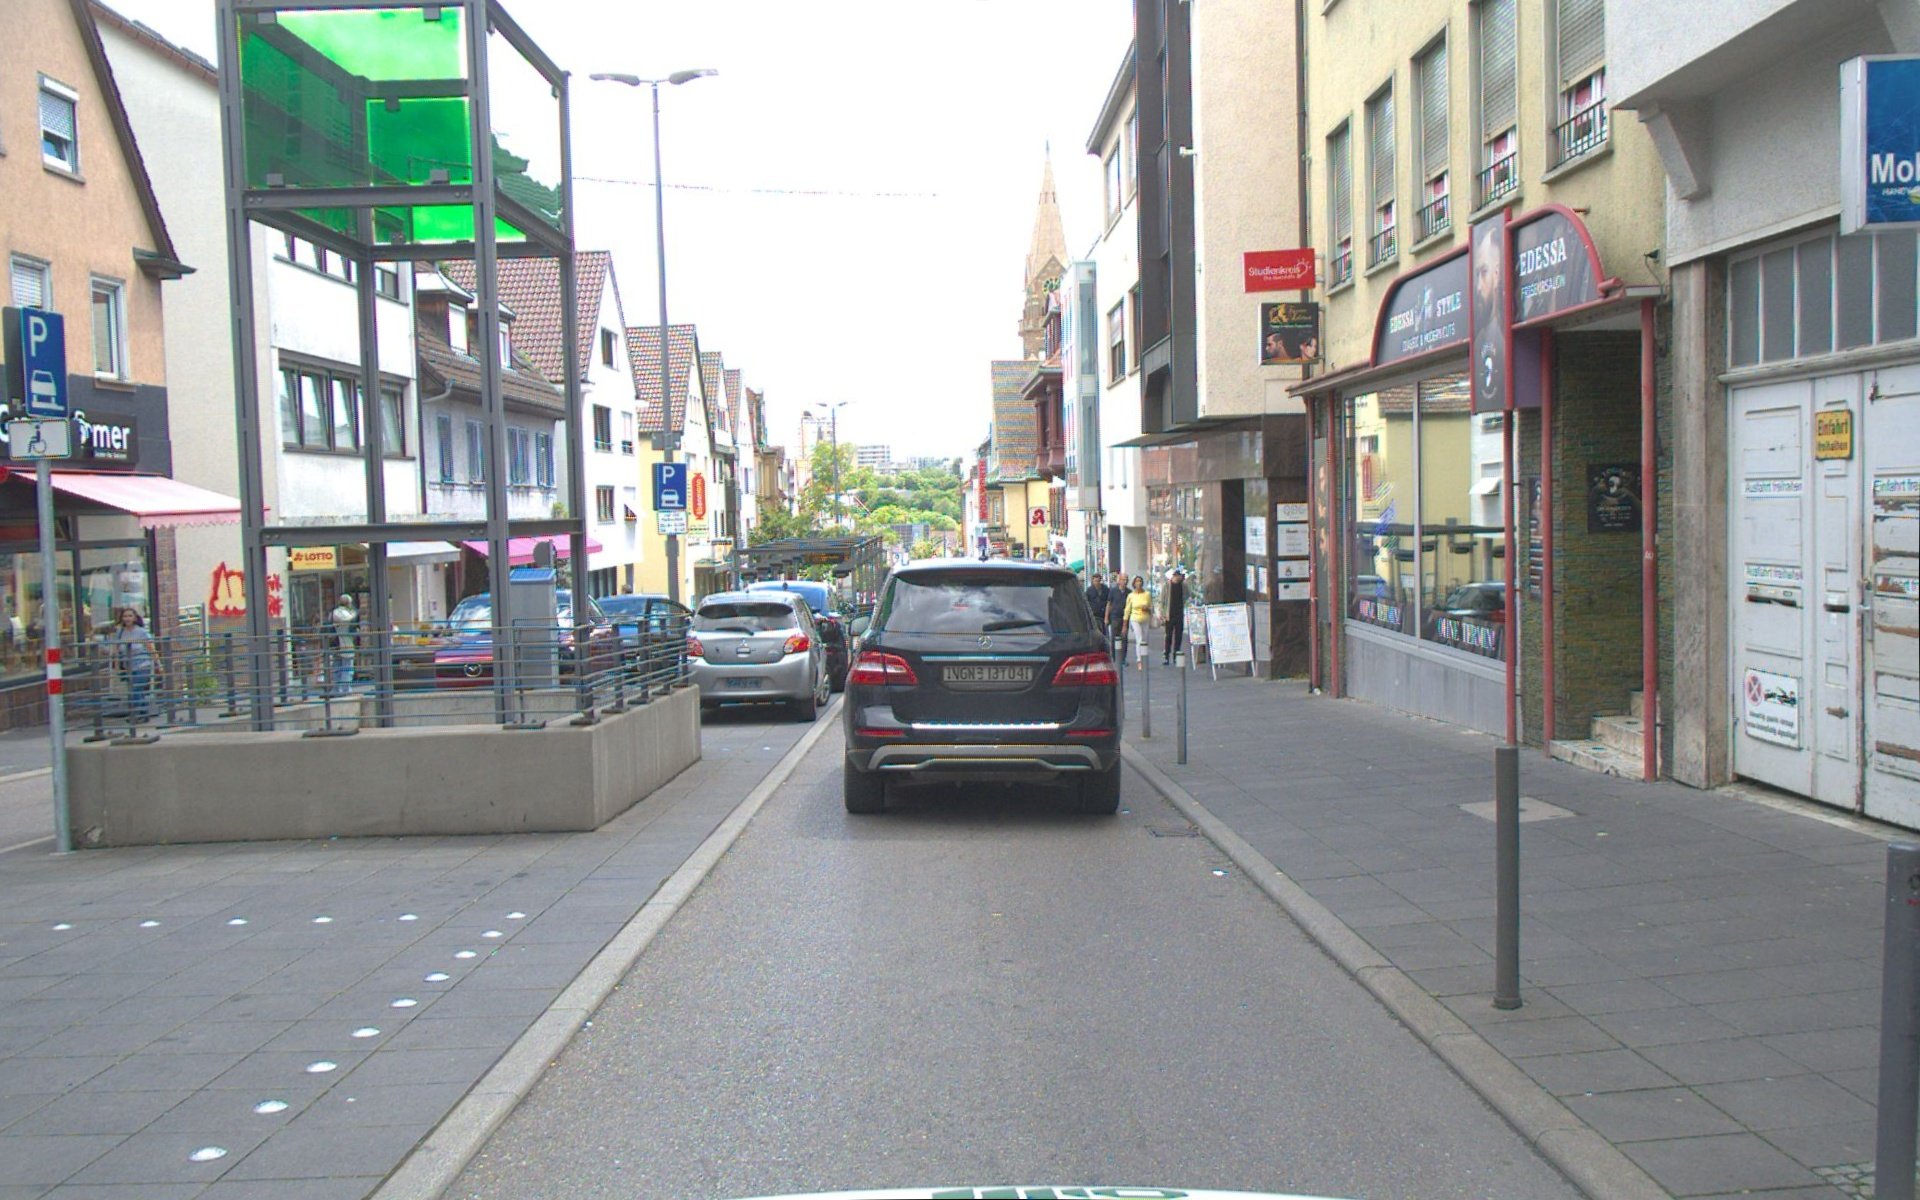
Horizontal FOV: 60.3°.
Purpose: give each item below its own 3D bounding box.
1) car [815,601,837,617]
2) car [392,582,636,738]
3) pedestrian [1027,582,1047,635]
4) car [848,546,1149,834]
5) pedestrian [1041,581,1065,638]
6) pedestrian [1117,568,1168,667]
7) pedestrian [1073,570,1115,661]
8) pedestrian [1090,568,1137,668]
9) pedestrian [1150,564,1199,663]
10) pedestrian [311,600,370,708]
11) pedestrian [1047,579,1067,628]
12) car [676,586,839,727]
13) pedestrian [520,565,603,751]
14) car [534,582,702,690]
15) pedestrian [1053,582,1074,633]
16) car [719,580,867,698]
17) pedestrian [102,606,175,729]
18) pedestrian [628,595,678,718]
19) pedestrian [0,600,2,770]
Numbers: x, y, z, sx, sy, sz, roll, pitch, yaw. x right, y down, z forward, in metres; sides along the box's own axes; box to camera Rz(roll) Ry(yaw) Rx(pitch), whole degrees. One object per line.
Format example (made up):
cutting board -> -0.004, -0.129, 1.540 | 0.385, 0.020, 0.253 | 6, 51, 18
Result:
car -> -9.839, 0.679, 121.594 | 1.360, 1.089, 3.112 | -2, 0, -1
car -> -4.944, 0.607, 18.903 | 1.703, 1.570, 4.192 | 0, 0, -1
pedestrian -> 2.579, 0.268, 55.381 | 0.532, 1.756, 0.527 | -1, 0, -7
car -> 0.155, 0.562, 12.310 | 1.862, 1.777, 3.998 | 1, 0, -3
pedestrian -> 2.829, 0.300, 50.225 | 0.609, 1.718, 0.565 | 1, 0, -7
pedestrian -> 3.161, 0.301, 28.678 | 0.697, 1.659, 0.835 | -3, 0, -1
pedestrian -> 2.720, 0.307, 33.554 | 0.697, 1.784, 0.787 | -3, 0, -1
pedestrian -> 2.817, 0.332, 30.464 | 0.697, 1.784, 0.785 | -3, 0, -1
pedestrian -> 3.848, 0.235, 29.716 | 0.650, 1.718, 0.542 | -4, 0, -7
pedestrian -> -10.009, 0.861, 26.733 | 0.634, 1.718, 0.663 | 0, 0, 39
pedestrian -> 3.381, 0.120, 57.595 | 0.562, 1.718, 0.565 | 1, 0, -7
car -> -2.391, 0.627, 20.264 | 1.587, 1.559, 3.669 | 0, 0, -1
pedestrian -> -3.760, 0.526, 15.653 | 0.522, 1.701, 0.901 | 0, 1, 2
car -> -5.257, 0.498, 25.869 | 1.703, 1.501, 3.885 | 1, 1, 1
pedestrian -> 3.551, 0.266, 56.745 | 0.562, 1.718, 0.565 | -2, 0, -7
car -> -2.487, 0.551, 25.642 | 1.917, 1.668, 4.313 | 0, 0, -1
pedestrian -> -11.078, 0.895, 22.309 | 0.553, 1.601, 0.716 | -3, 0, -1
pedestrian -> -3.735, 0.685, 20.164 | 0.457, 1.456, 0.492 | -3, 0, -1
pedestrian -> -10.067, 0.863, 16.399 | 0.626, 1.718, 0.828 | 0, 0, 3
